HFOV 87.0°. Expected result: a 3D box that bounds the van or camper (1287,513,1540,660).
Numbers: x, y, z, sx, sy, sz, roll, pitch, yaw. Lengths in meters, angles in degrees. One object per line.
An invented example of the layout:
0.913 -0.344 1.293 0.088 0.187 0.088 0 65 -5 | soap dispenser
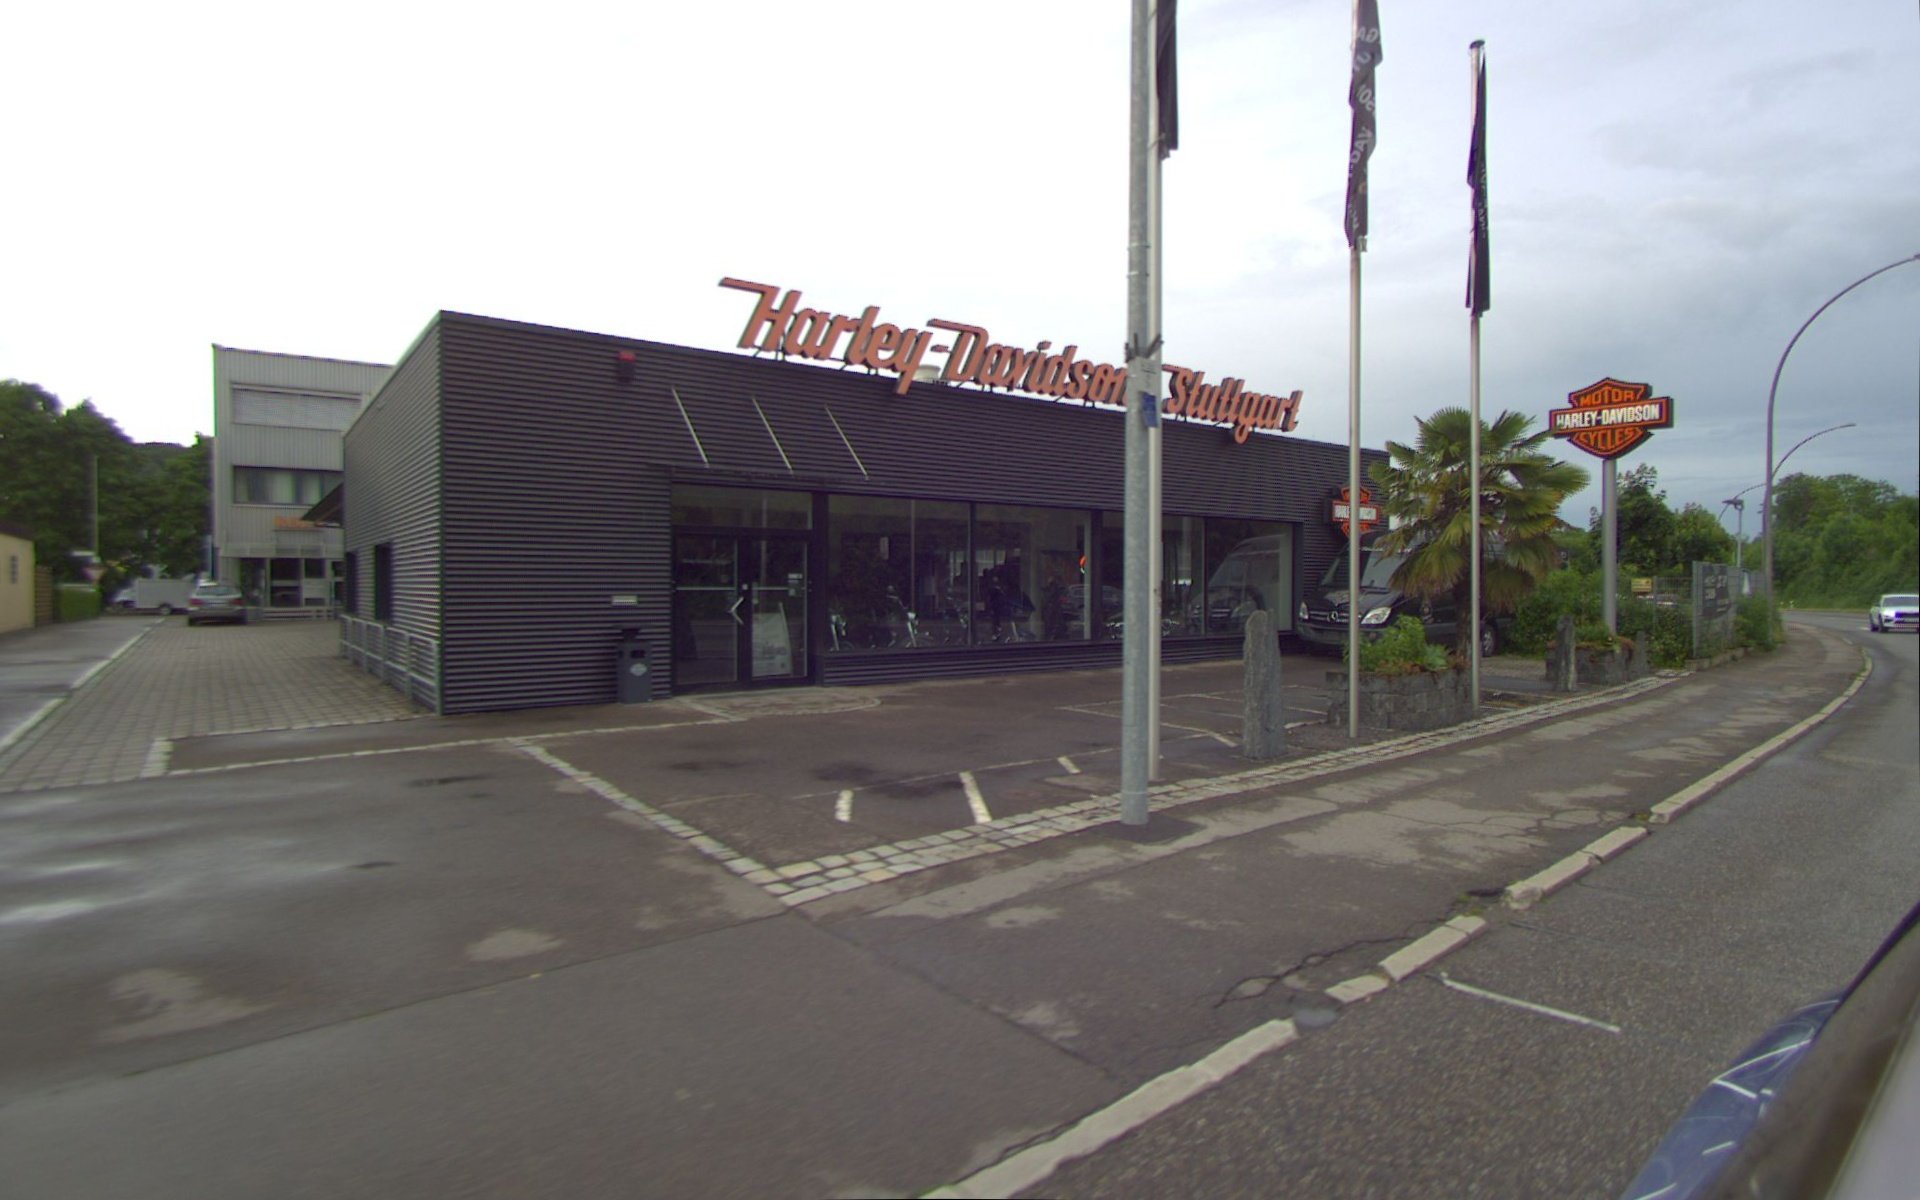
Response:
9.537 -0.270 20.932 6.470 2.626 2.046 0 1 -39 | van or camper

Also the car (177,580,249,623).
-28.175 0.108 38.278 1.961 1.503 4.000 1 -2 -33 | car

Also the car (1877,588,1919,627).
41.403 0.301 43.790 1.835 1.594 3.784 1 1 32 | car

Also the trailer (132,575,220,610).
-45.668 -0.449 59.061 3.924 1.961 2.000 0 1 -35 | trailer

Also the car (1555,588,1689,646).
24.839 0.598 38.069 3.988 2.039 1.684 0 0 45 | car
